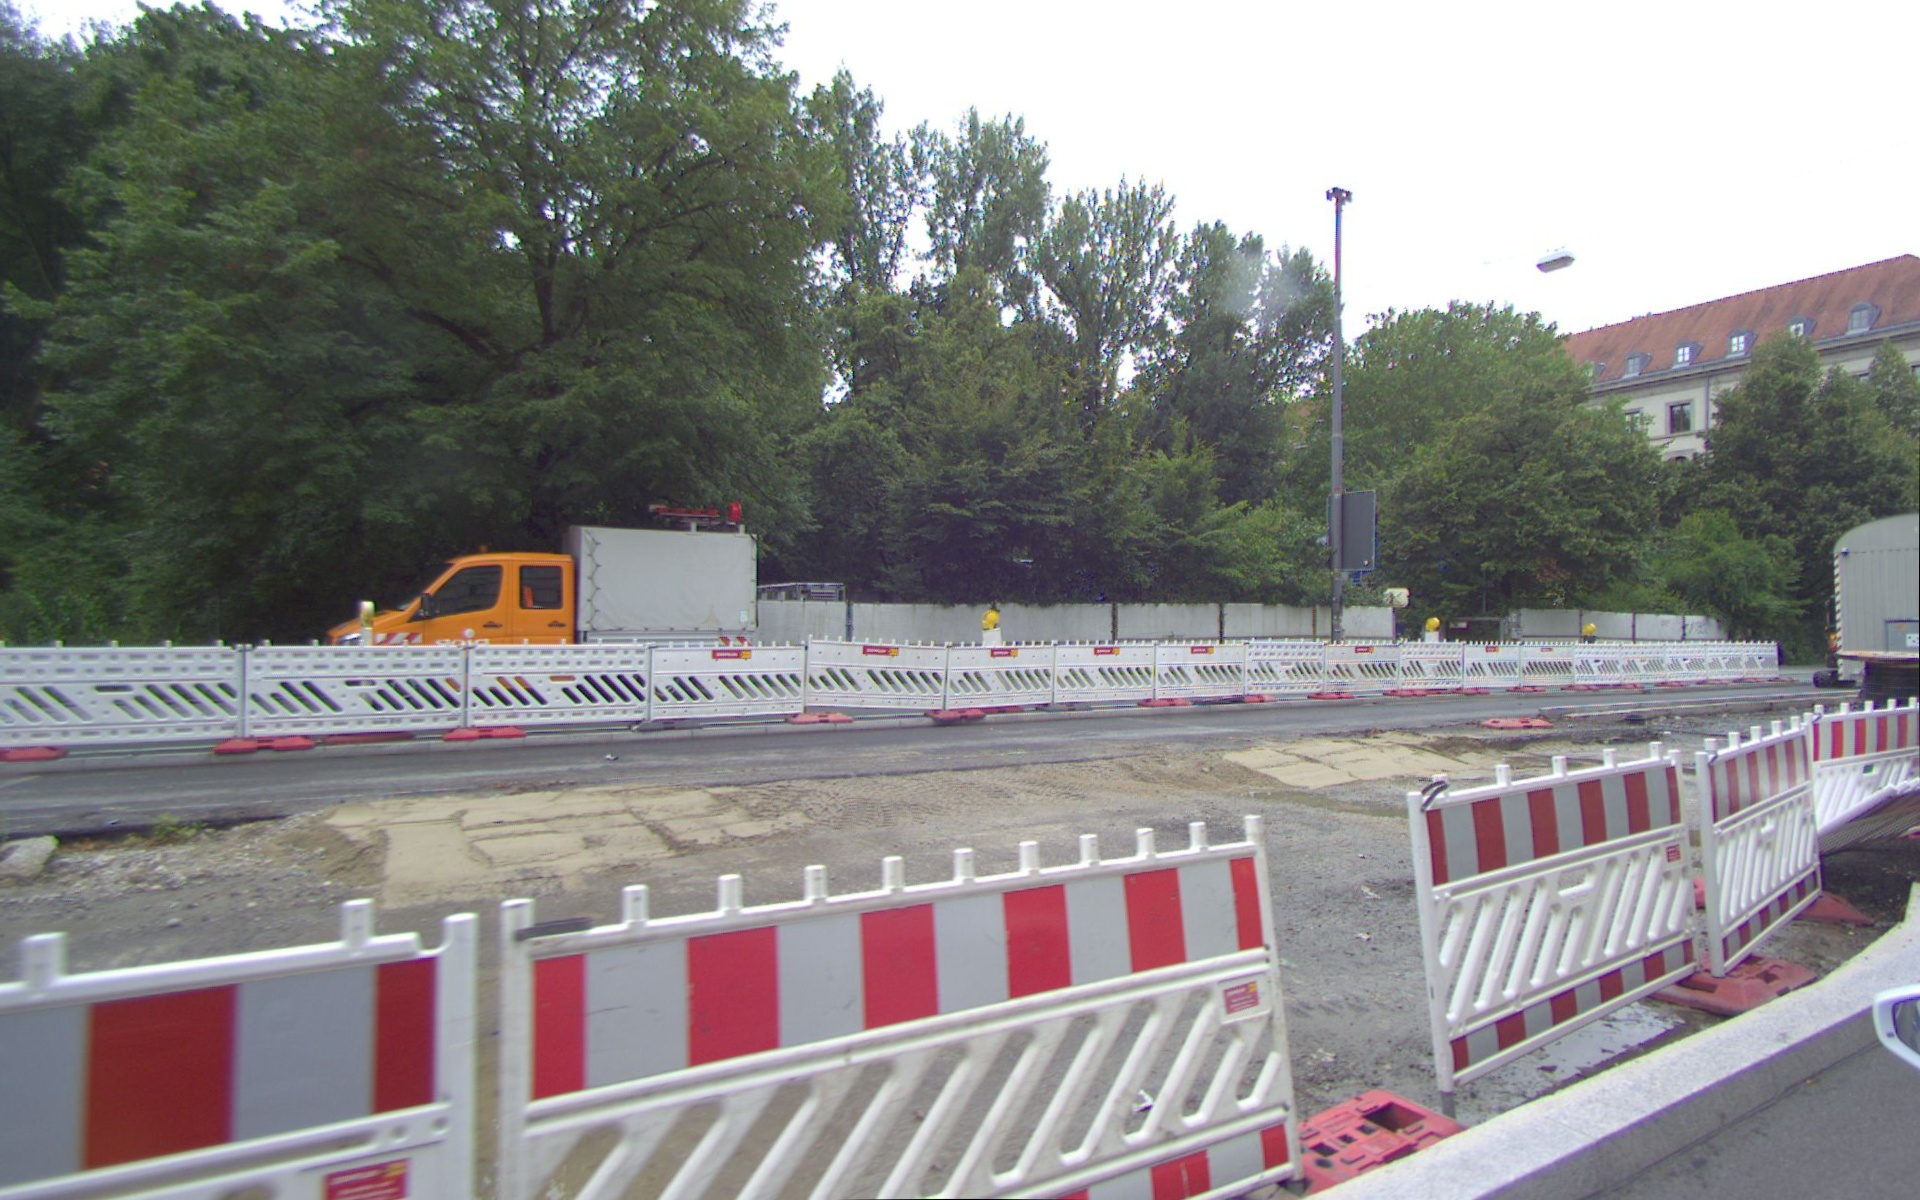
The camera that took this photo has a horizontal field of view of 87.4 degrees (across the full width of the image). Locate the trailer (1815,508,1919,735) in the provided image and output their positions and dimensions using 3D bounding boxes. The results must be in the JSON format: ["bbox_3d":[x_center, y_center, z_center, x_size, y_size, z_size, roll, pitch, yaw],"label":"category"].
[{"bbox_3d":[16.847,0.379,16.758,7.445,3.286,2.212,1,-1,-36],"label":"trailer"}]

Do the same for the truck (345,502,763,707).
[{"bbox_3d":[-6.227,0.106,15.831,5.801,2.765,1.984,1,-1,-30],"label":"truck"}]

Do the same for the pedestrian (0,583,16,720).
[{"bbox_3d":[-11.770,0.605,11.903,0.690,1.624,0.660,1,0,-29],"label":"pedestrian"}]

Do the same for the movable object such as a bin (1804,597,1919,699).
[{"bbox_3d":[25.397,1.248,27.642,4.438,2.606,1.915,1,0,-30],"label":"movable object such as a bin"}]
